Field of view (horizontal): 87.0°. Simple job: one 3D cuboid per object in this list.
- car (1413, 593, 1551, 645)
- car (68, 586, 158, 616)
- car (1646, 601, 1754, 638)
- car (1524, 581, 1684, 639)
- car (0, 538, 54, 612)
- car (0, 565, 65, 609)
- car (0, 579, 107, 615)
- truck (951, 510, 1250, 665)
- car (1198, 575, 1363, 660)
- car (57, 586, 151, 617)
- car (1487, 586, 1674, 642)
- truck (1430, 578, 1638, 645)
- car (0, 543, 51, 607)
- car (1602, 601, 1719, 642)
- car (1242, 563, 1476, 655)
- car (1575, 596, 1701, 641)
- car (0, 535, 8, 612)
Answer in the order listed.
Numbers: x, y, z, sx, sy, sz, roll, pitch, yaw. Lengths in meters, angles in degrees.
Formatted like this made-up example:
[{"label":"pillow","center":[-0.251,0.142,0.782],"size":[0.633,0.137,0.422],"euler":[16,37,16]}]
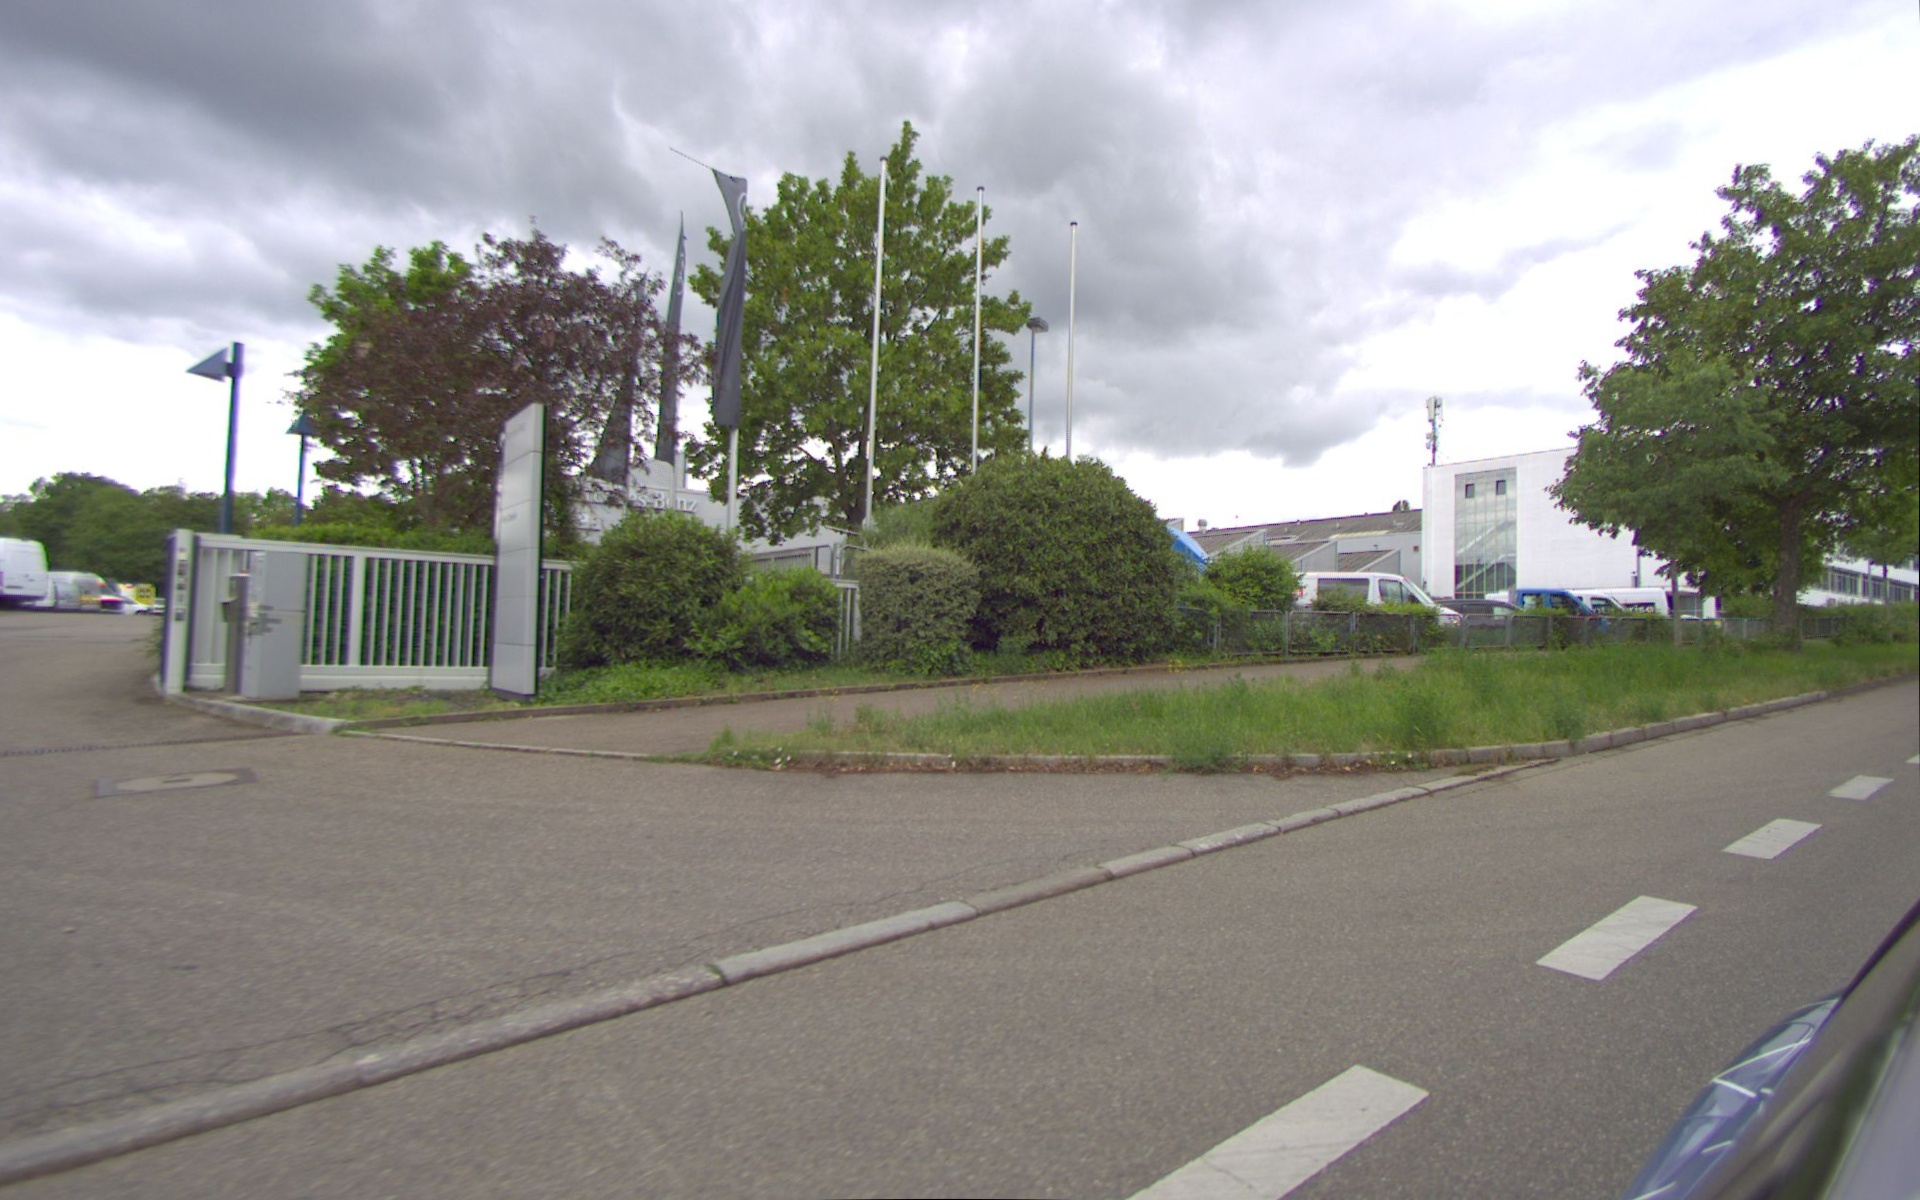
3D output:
[{"label":"car","center":[17.351,0.642,33.854],"size":[3.959,1.650,1.982],"euler":[-1,-1,26]},{"label":"car","center":[-64.898,0.094,77.592],"size":[5.358,2.054,2.257],"euler":[2,-1,8]},{"label":"car","center":[42.770,1.144,58.621],"size":[4.508,2.061,2.062],"euler":[-1,-1,14]},{"label":"car","center":[25.762,0.421,40.757],"size":[5.214,2.216,2.050],"euler":[-1,-1,29]},{"label":"car","center":[-37.645,-1.008,38.113],"size":[5.358,2.711,2.257],"euler":[2,-1,8]},{"label":"car","center":[-48.073,-0.692,50.390],"size":[5.358,2.054,2.257],"euler":[2,-1,8]},{"label":"car","center":[-53.279,-0.208,59.159],"size":[5.358,1.838,2.258],"euler":[2,1,8]},{"label":"truck","center":[3.491,-0.289,25.811],"size":[7.124,3.521,2.592],"euler":[0,-1,30]},{"label":"car","center":[8.457,0.470,26.715],"size":[3.957,2.102,1.908],"euler":[-1,-1,25]},{"label":"car","center":[-62.751,0.141,74.219],"size":[5.358,2.054,2.257],"euler":[2,-1,8]},{"label":"car","center":[23.098,0.560,37.941],"size":[5.781,1.982,2.048],"euler":[-1,-1,32]},{"label":"truck","center":[20.128,0.440,35.910],"size":[6.189,2.241,2.227],"euler":[-1,-1,26]},{"label":"car","center":[-43.573,-1.180,44.558],"size":[5.358,2.711,2.257],"euler":[2,-1,8]},{"label":"car","center":[36.472,1.107,52.809],"size":[4.508,2.061,2.062],"euler":[-1,-1,14]},{"label":"car","center":[11.424,0.298,29.121],"size":[5.978,2.397,2.337],"euler":[-1,-1,30]},{"label":"car","center":[32.469,0.903,48.623],"size":[4.508,2.061,2.062],"euler":[-1,-1,14]},{"label":"car","center":[-36.702,-1.063,35.238],"size":[5.358,2.711,2.257],"euler":[2,-1,8]}]
